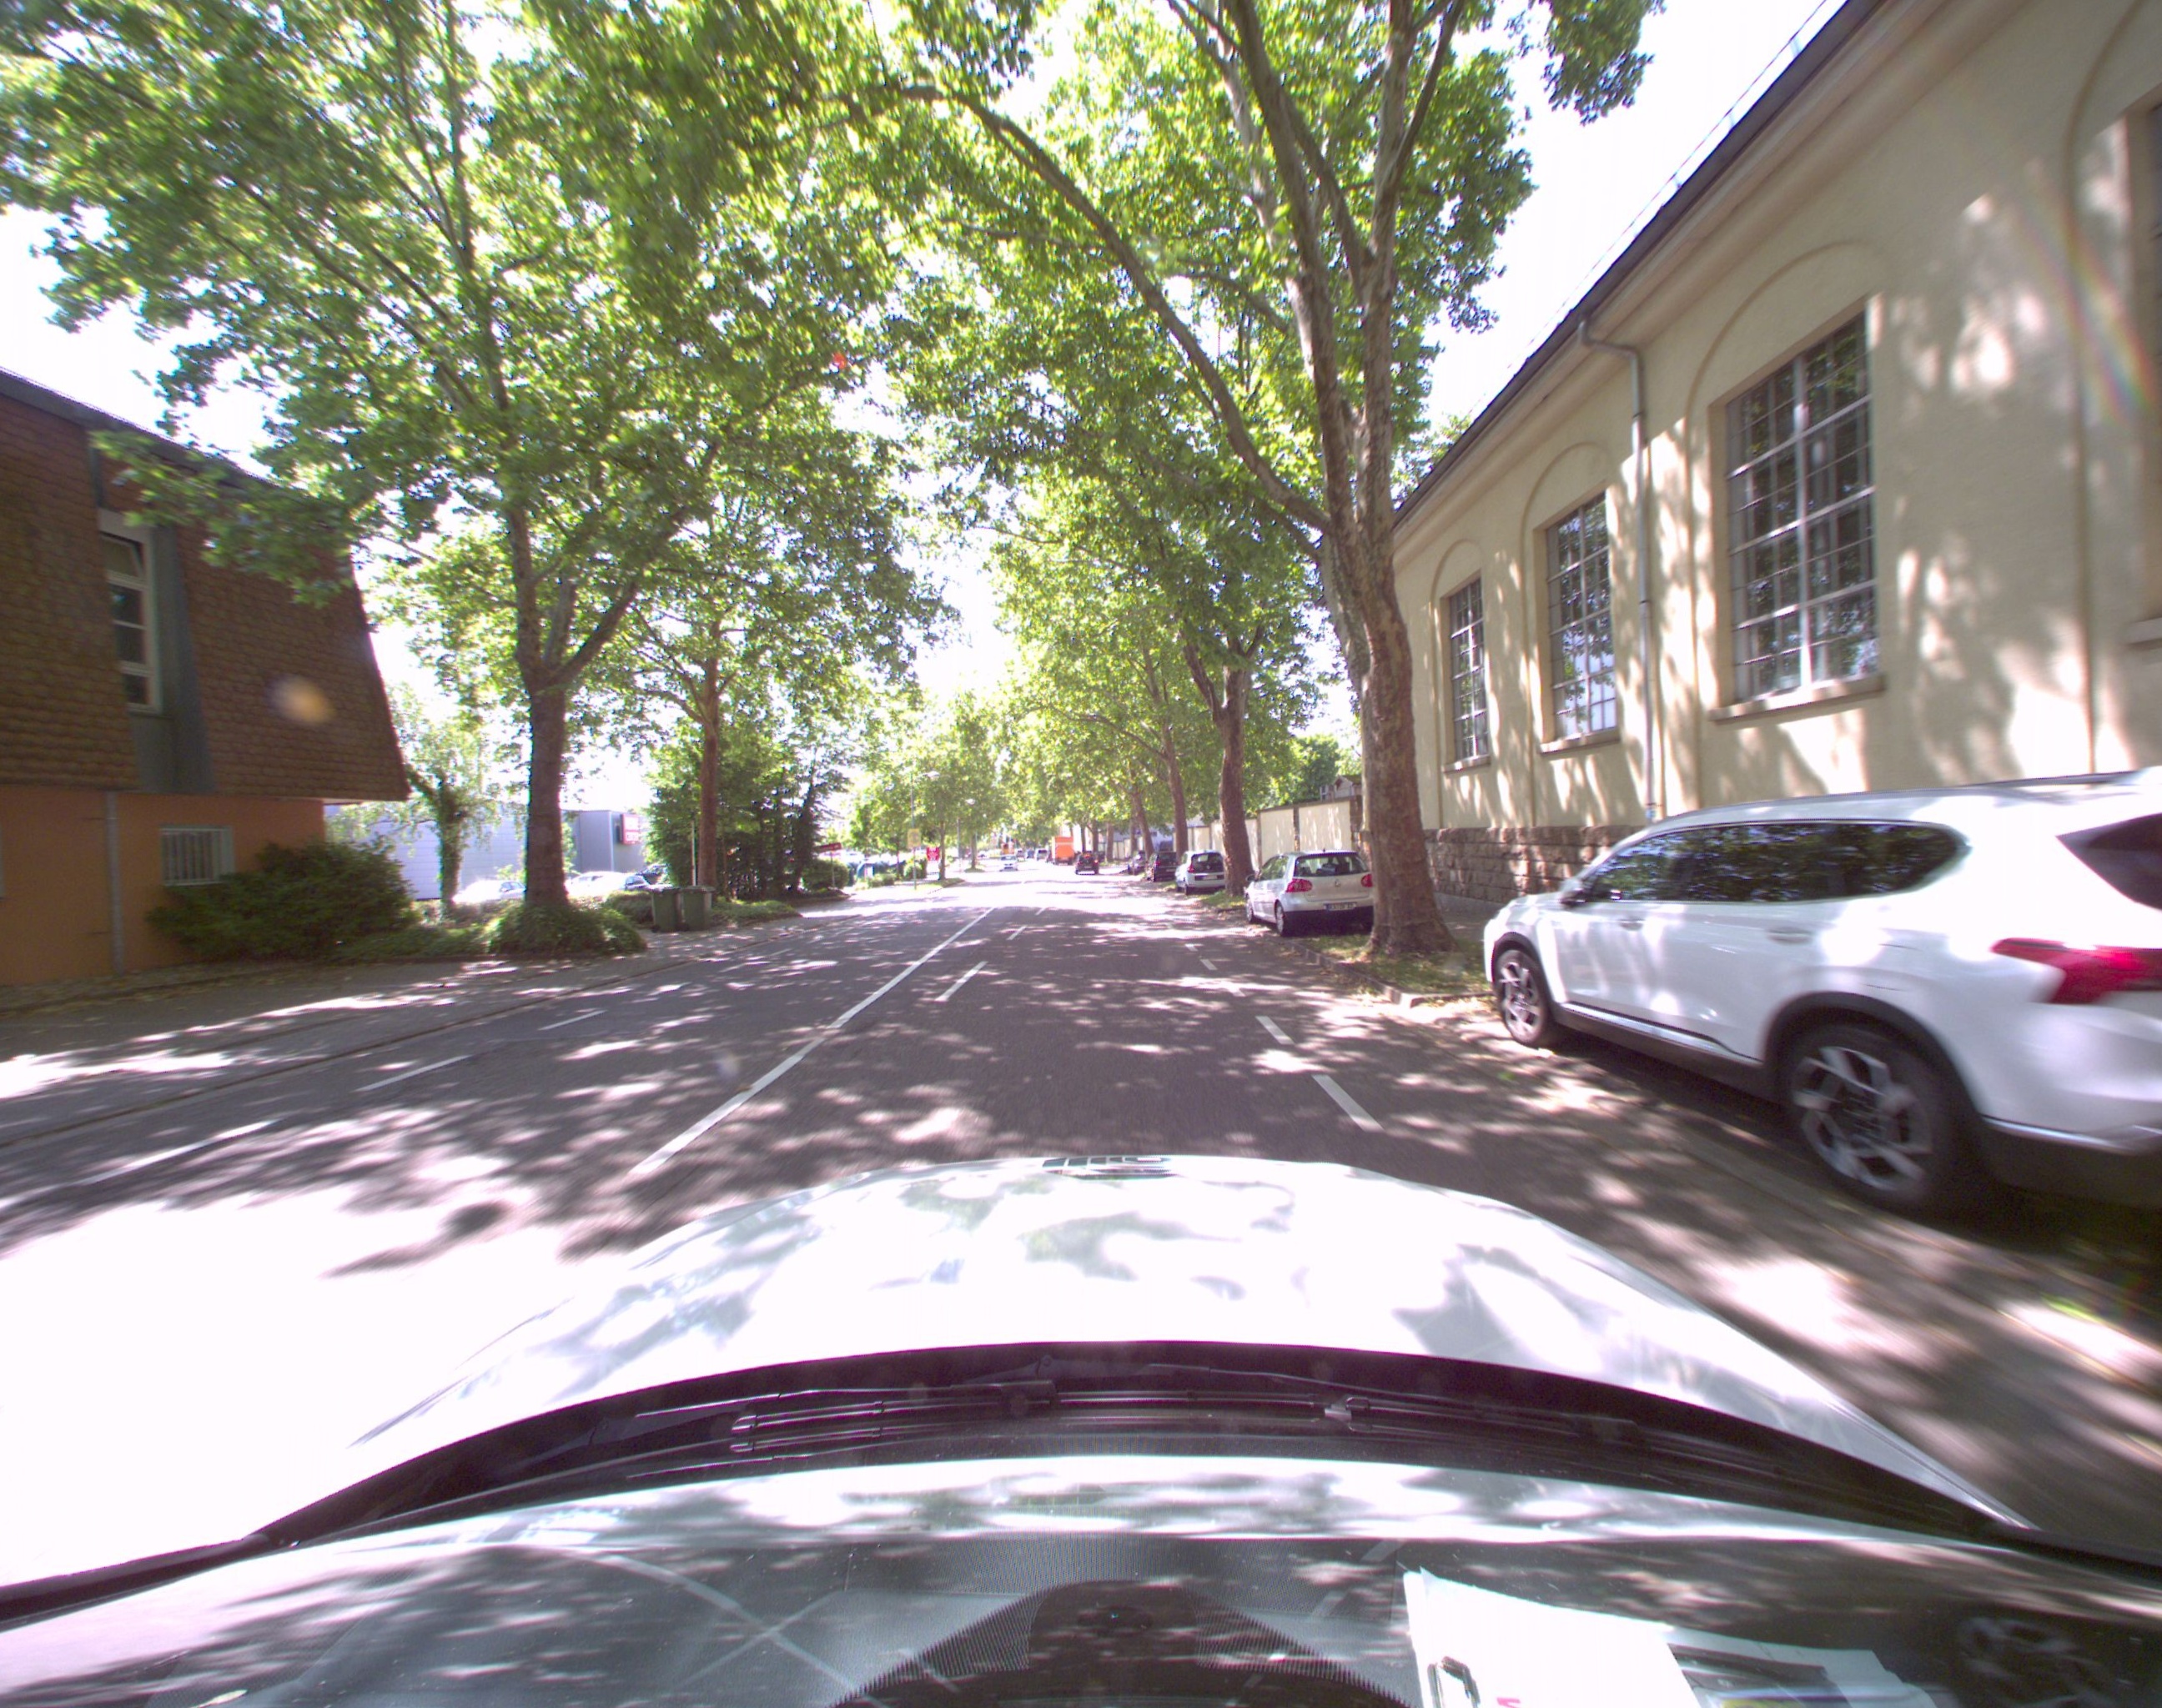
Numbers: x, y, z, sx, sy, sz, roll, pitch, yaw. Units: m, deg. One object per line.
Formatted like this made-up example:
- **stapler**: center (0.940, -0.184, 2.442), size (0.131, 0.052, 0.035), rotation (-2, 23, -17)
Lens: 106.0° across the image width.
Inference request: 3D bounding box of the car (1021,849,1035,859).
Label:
- **car**: center (-8.810, 0.025, 134.824), size (1.767, 1.374, 3.715), rotation (-4, 0, -11)

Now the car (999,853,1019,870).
- **car**: center (-6.626, 0.709, 75.088), size (1.708, 1.447, 4.052), rotation (-3, 0, -4)

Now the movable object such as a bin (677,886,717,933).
- **movable object such as a bin**: center (-9.254, 1.330, 19.633), size (0.621, 1.048, 0.620), rotation (-3, 0, 1)

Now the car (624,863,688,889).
- **car**: center (-30.270, 1.558, 58.112), size (3.770, 1.586, 1.595), rotation (-3, 0, -21)

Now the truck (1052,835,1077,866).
- **truck**: center (-1.848, -0.349, 89.370), size (2.366, 3.134, 5.760), rotation (-3, -1, -4)

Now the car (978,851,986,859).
- **car**: center (-24.090, 0.271, 198.164), size (1.722, 1.717, 3.985), rotation (-2, 0, -11)

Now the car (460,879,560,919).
- **car**: center (-24.714, 1.903, 35.422), size (1.714, 1.460, 3.789), rotation (-2, 0, -2)

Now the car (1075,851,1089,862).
- **car**: center (0.111, 0.340, 111.452), size (1.763, 1.374, 3.726), rotation (-4, 0, -3)

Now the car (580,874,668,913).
- **car**: center (-19.825, 1.669, 35.486), size (1.714, 1.460, 3.790), rotation (-2, 0, -2)

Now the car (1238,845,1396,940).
- **car**: center (4.216, 0.631, 15.183), size (1.761, 1.433, 3.875), rotation (-4, 0, 0)

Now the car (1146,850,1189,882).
- **car**: center (4.461, 0.611, 42.293), size (1.761, 1.465, 3.875), rotation (-4, 0, 0)

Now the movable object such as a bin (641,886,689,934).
- **movable object such as a bin**: center (-9.998, 1.345, 19.603), size (0.732, 1.078, 0.701), rotation (-3, 0, 1)

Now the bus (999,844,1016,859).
- **bus**: center (-16.529, -0.512, 182.381), size (2.664, 3.150, 11.155), rotation (-3, 0, -11)

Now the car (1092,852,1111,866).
- **car**: center (2.239, 0.542, 88.981), size (1.762, 1.374, 3.725), rotation (-2, 0, -3)

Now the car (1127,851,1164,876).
- **car**: center (4.076, 0.600, 52.001), size (1.763, 1.374, 3.726), rotation (-4, 0, -3)

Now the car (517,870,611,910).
- **car**: center (-29.139, 2.028, 46.027), size (3.993, 2.014, 1.990), rotation (-2, -2, -15)

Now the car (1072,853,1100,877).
- **car**: center (0.347, 0.755, 58.580), size (1.707, 1.447, 4.054), rotation (-3, 2, -3)

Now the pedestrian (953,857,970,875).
- **pedestrian**: center (-10.733, 1.066, 73.171), size (0.958, 1.520, 1.103), rotation (-2, 0, 20)

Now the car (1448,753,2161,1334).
- **car**: center (4.069, 0.495, 4.688), size (1.801, 1.689, 4.753), rotation (-4, 0, 2)

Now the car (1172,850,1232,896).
- **car**: center (4.366, 0.639, 29.838), size (1.572, 1.465, 3.875), rotation (-4, 0, 0)

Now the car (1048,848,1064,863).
- **car**: center (-3.255, 0.226, 105.258), size (1.774, 1.704, 3.993), rotation (-3, -1, -4)

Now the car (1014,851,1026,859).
- **car**: center (-11.408, 0.206, 151.910), size (1.767, 1.374, 3.716), rotation (-4, 0, -11)

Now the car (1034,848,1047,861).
- **car**: center (-5.886, 0.118, 118.697), size (1.875, 1.685, 3.995), rotation (-3, -1, -3)
